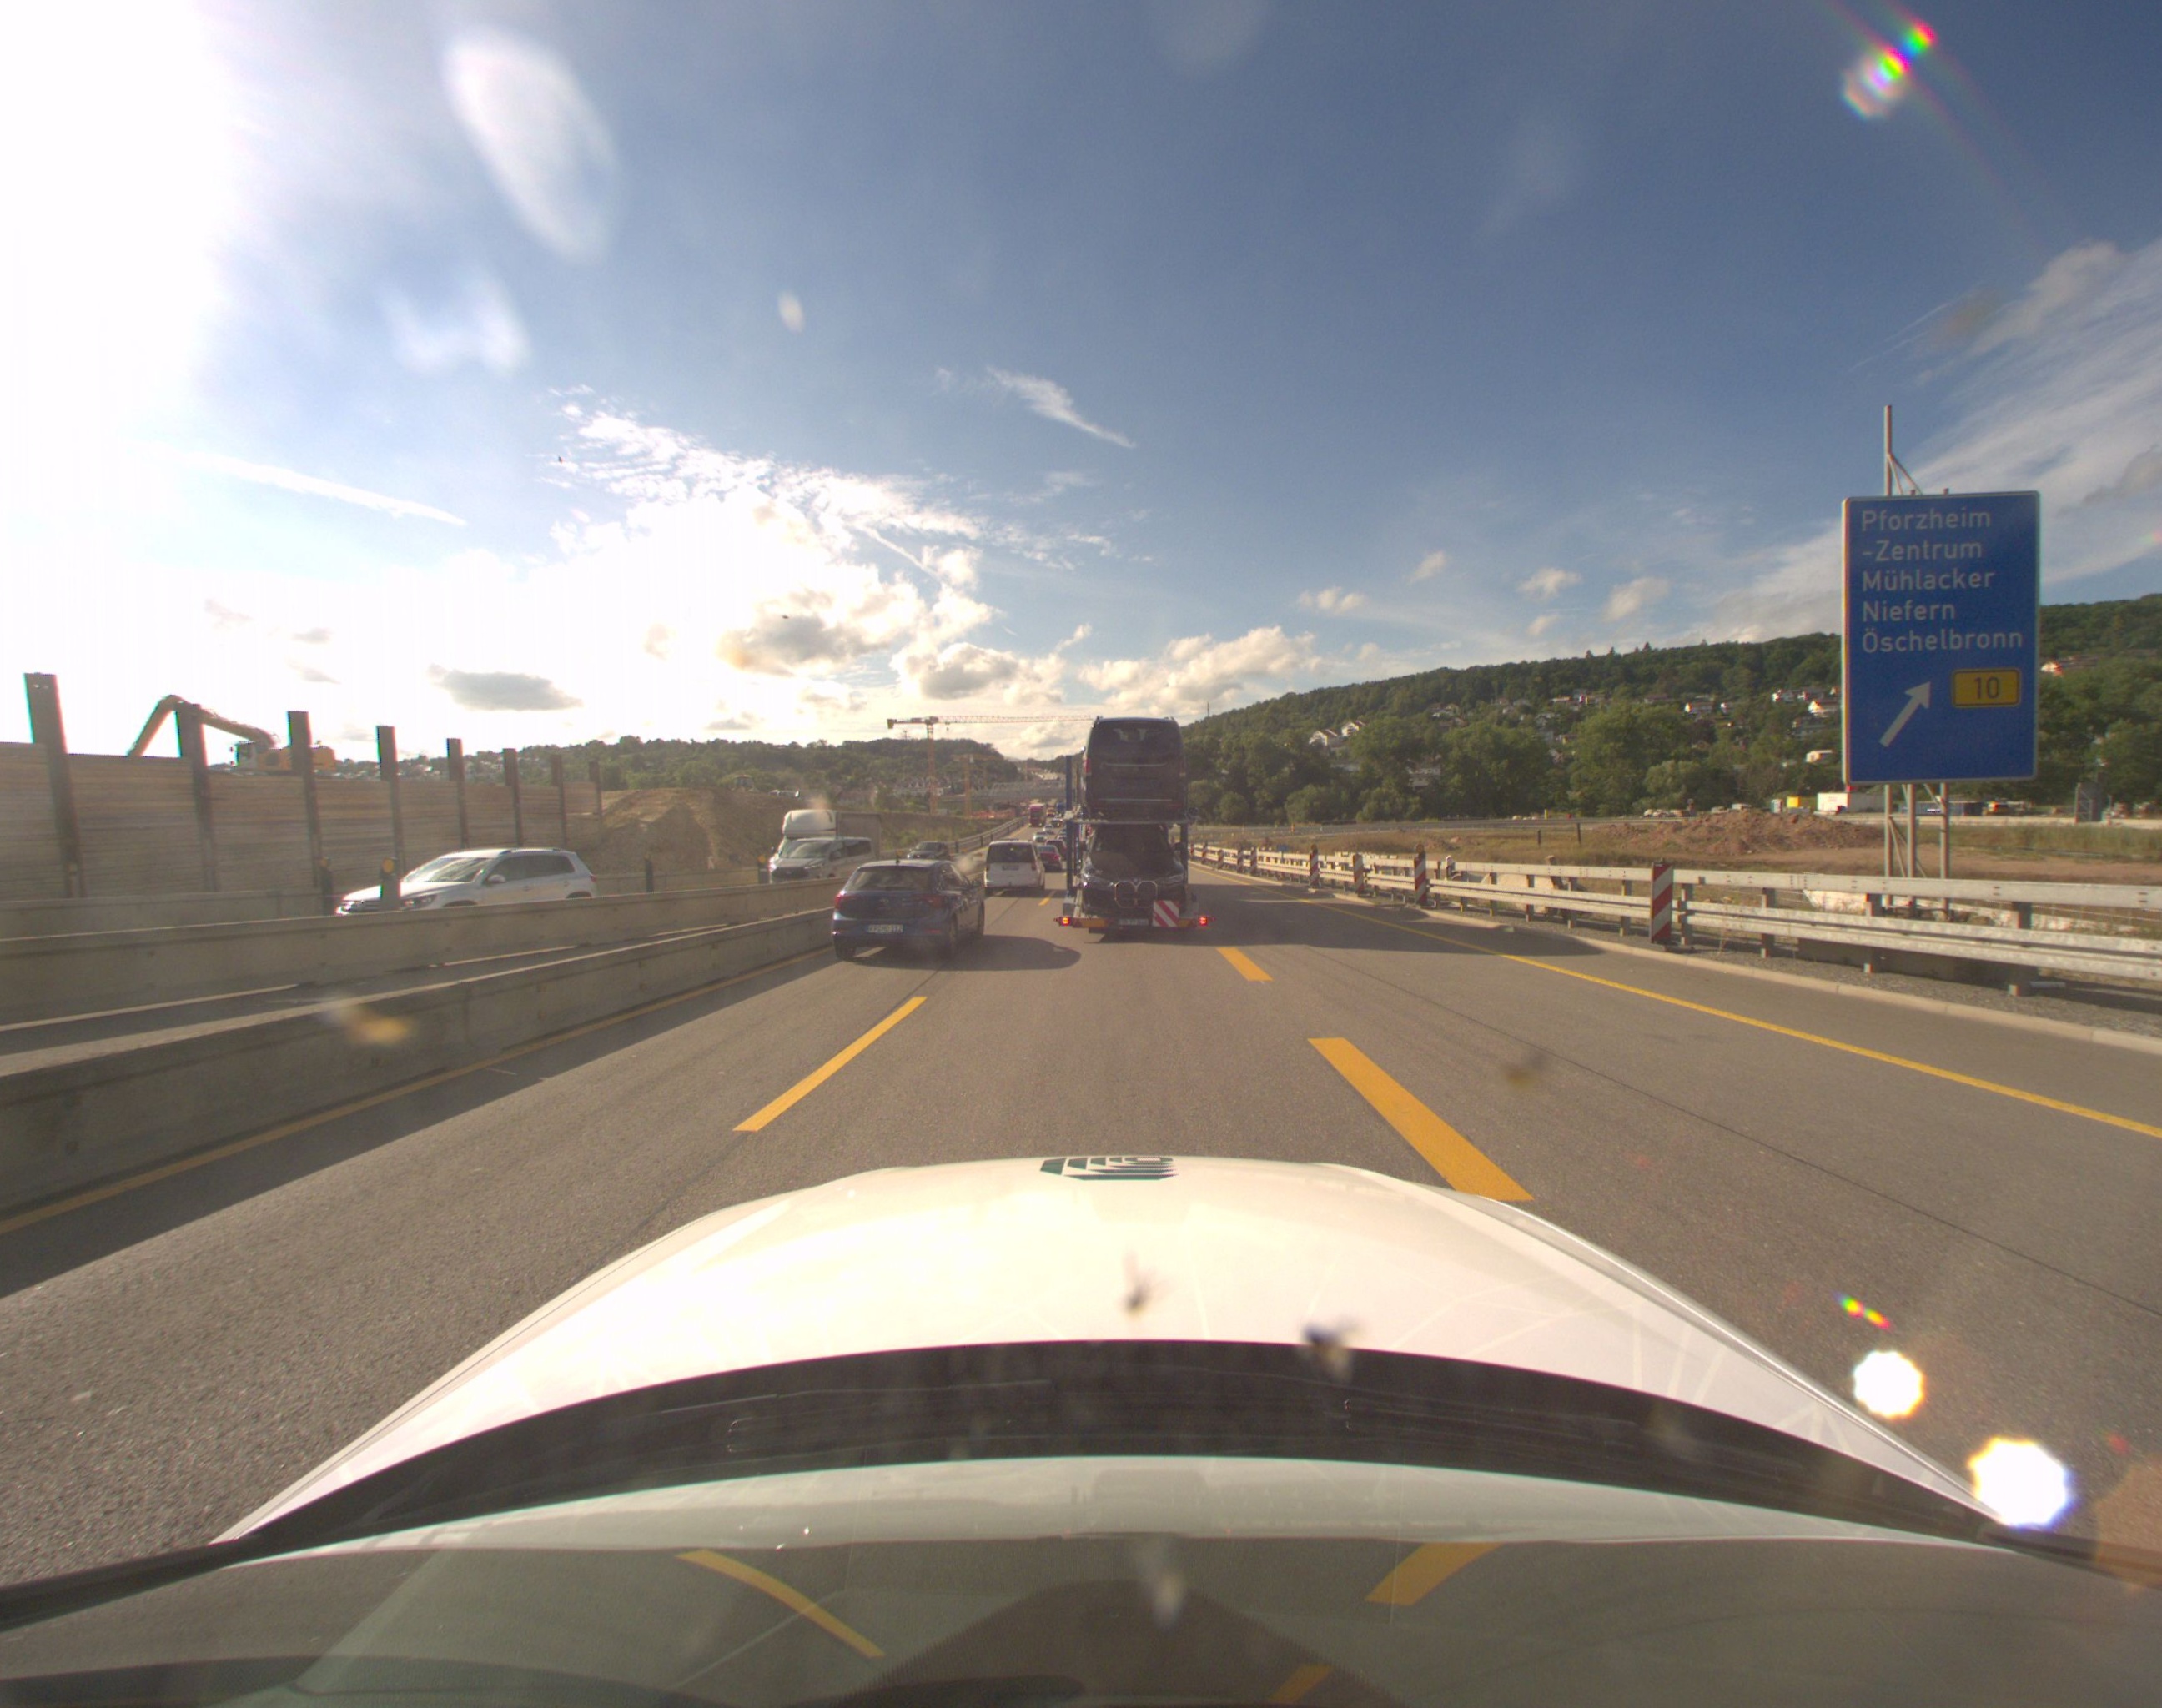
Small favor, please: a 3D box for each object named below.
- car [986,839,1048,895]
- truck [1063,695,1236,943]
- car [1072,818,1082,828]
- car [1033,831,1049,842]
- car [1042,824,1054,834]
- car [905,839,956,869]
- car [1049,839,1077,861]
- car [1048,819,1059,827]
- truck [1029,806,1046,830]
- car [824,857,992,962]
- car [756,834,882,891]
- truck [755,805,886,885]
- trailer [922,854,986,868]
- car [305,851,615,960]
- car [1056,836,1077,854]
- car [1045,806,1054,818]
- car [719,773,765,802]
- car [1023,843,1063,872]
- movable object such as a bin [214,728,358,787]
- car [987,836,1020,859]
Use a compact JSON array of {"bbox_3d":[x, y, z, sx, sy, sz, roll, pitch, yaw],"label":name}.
[{"bbox_3d":[-2.120,0.435,27.958,1.817,1.792,3.999,0,-1,0],"label":"car"},{"bbox_3d":[1.173,-0.668,22.495,2.744,3.954,18.890,1,1,0],"label":"truck"},{"bbox_3d":[-0.706,-5.738,151.479,1.839,1.648,4.502,0,1,-2],"label":"car"},{"bbox_3d":[-5.116,-2.235,105.648,1.847,1.439,4.557,1,1,0],"label":"car"},{"bbox_3d":[-5.152,-3.927,128.324,1.749,1.439,3.804,0,1,0],"label":"car"},{"bbox_3d":[-9.416,0.000,51.164,1.984,1.804,4.451,0,-1,5],"label":"car"},{"bbox_3d":[-1.364,-0.275,62.323,1.987,1.552,4.000,0,-1,1],"label":"car"},{"bbox_3d":[-5.046,-5.734,150.185,1.815,1.439,4.614,0,1,0],"label":"car"},{"bbox_3d":[-8.216,-6.735,154.239,2.907,4.386,6.282,1,1,-2],"label":"truck"},{"bbox_3d":[-2.573,0.768,13.083,1.715,1.422,4.001,0,0,2],"label":"car"},{"bbox_3d":[-8.987,0.239,28.466,2.113,1.765,5.043,1,1,9],"label":"car"},{"bbox_3d":[-11.659,-0.333,37.387,2.685,3.311,7.554,0,-1,8],"label":"truck"},{"bbox_3d":[-8.922,0.456,58.529,2.341,0.939,10.339,0,0,4],"label":"trailer"},{"bbox_3d":[-11.187,0.809,15.152,2.113,1.674,4.283,1,1,9],"label":"car"},{"bbox_3d":[-1.371,-0.894,80.106,1.987,1.665,4.000,0,1,0],"label":"car"},{"bbox_3d":[-8.031,-10.778,208.096,1.986,2.879,6.067,0,0,2],"label":"car"},{"bbox_3d":[-32.518,-6.327,78.236,1.987,2.140,5.321,-5,-1,0],"label":"car"},{"bbox_3d":[-2.118,0.192,46.295,1.987,1.556,4.401,0,-1,0],"label":"car"},{"bbox_3d":[-53.802,-6.463,55.242,5.707,3.270,4.526,0,-1,12],"label":"movable object such as a bin"},{"bbox_3d":[-5.924,-0.501,62.709,1.844,1.635,4.753,1,1,4],"label":"car"}]
